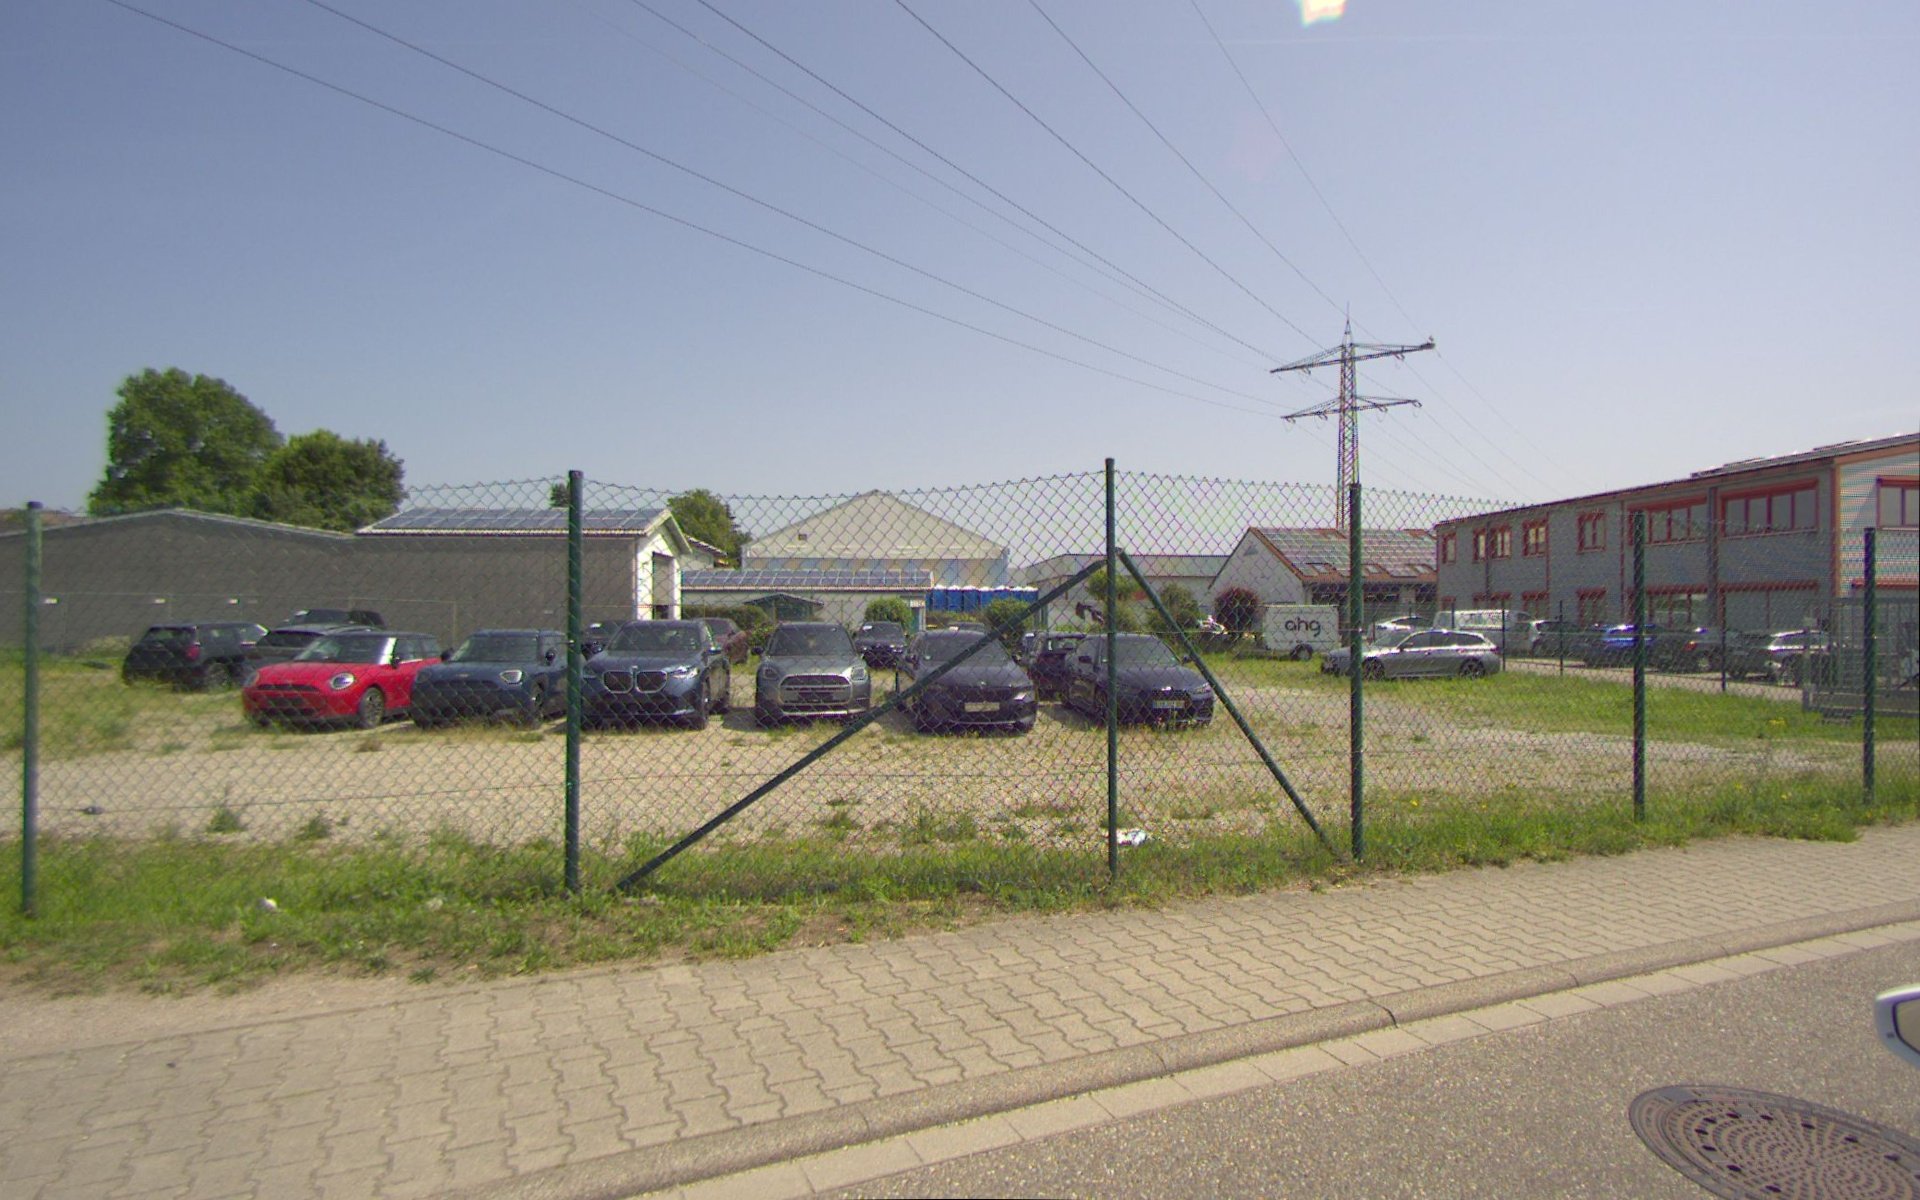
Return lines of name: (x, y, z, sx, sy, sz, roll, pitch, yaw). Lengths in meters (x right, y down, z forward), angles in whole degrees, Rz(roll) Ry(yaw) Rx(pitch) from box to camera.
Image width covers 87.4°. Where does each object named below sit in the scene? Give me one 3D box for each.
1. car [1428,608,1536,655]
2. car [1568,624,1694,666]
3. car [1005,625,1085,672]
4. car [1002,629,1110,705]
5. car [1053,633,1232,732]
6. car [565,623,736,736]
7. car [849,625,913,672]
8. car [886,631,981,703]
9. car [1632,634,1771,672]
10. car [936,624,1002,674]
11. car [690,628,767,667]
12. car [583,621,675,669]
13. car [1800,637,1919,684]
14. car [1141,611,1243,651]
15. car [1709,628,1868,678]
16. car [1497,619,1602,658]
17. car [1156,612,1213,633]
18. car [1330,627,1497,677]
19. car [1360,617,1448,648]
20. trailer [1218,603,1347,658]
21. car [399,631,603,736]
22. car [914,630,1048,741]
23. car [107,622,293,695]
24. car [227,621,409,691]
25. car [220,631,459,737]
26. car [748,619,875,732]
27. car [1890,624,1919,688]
car: (22.796, 1.377, 43.948, 3.833, 2.005, 1.822, 0, -1, -5)
car: (23.512, 1.561, 35.260, 3.535, 1.435, 1.507, 0, -1, -5)
car: (2.821, 1.609, 34.366, 1.964, 1.454, 4.663, 1, -1, -5)
car: (2.040, 1.431, 22.636, 1.962, 1.454, 4.422, 1, -1, -1)
car: (2.997, 1.339, 17.602, 1.964, 1.454, 4.663, 1, -1, -5)
car: (-4.785, 1.172, 16.066, 1.833, 1.582, 3.695, 1, -1, -5)
car: (-2.652, 1.571, 33.798, 1.964, 1.454, 4.663, 1, -1, -5)
car: (-0.616, 1.448, 22.804, 1.961, 1.439, 3.999, 0, -1, -2)
car: (23.911, 1.713, 32.446, 3.535, 1.167, 1.507, 0, -1, -5)
car: (0.241, 1.591, 33.471, 1.833, 1.575, 3.768, 1, -1, -5)
car: (-7.634, 1.553, 33.571, 1.833, 1.191, 4.601, 1, -1, -5)
car: (-10.843, 1.448, 33.276, 1.833, 1.452, 4.601, 1, -1, -5)
car: (24.851, 1.605, 26.947, 3.535, 1.167, 1.507, 0, -1, -5)
car: (9.870, 1.321, 42.940, 3.922, 1.619, 1.876, 0, -1, -3)
car: (23.992, 1.525, 29.160, 3.535, 1.399, 1.507, 0, -1, -5)
car: (24.179, 1.566, 41.241, 3.535, 1.564, 1.507, 0, -1, -5)
car: (14.549, 1.442, 65.233, 3.273, 1.360, 1.665, 0, -1, -7)
car: (12.200, 1.392, 27.101, 4.064, 1.277, 1.234, 0, -1, -5)
car: (22.544, 1.663, 51.041, 3.833, 1.536, 1.507, 0, -1, -5)
trailer: (11.892, 1.112, 37.283, 4.371, 1.971, 1.715, 0, -1, 10)
car: (-7.211, 1.256, 16.200, 1.833, 1.452, 3.647, 1, -1, -5)
car: (0.227, 1.305, 16.538, 1.833, 1.575, 3.768, 1, -1, -5)
car: (-16.117, 1.195, 21.525, 1.836, 1.433, 3.434, 1, -1, -12)
car: (-13.197, 1.113, 20.912, 1.834, 1.315, 3.438, 1, -1, -6)
car: (-9.663, 1.248, 15.996, 1.833, 1.473, 3.439, 1, -1, -5)
car: (-2.351, 1.164, 16.688, 1.833, 1.665, 3.632, 1, -1, -5)
car: (25.258, 1.385, 24.726, 3.535, 1.560, 1.507, 0, -1, -5)
